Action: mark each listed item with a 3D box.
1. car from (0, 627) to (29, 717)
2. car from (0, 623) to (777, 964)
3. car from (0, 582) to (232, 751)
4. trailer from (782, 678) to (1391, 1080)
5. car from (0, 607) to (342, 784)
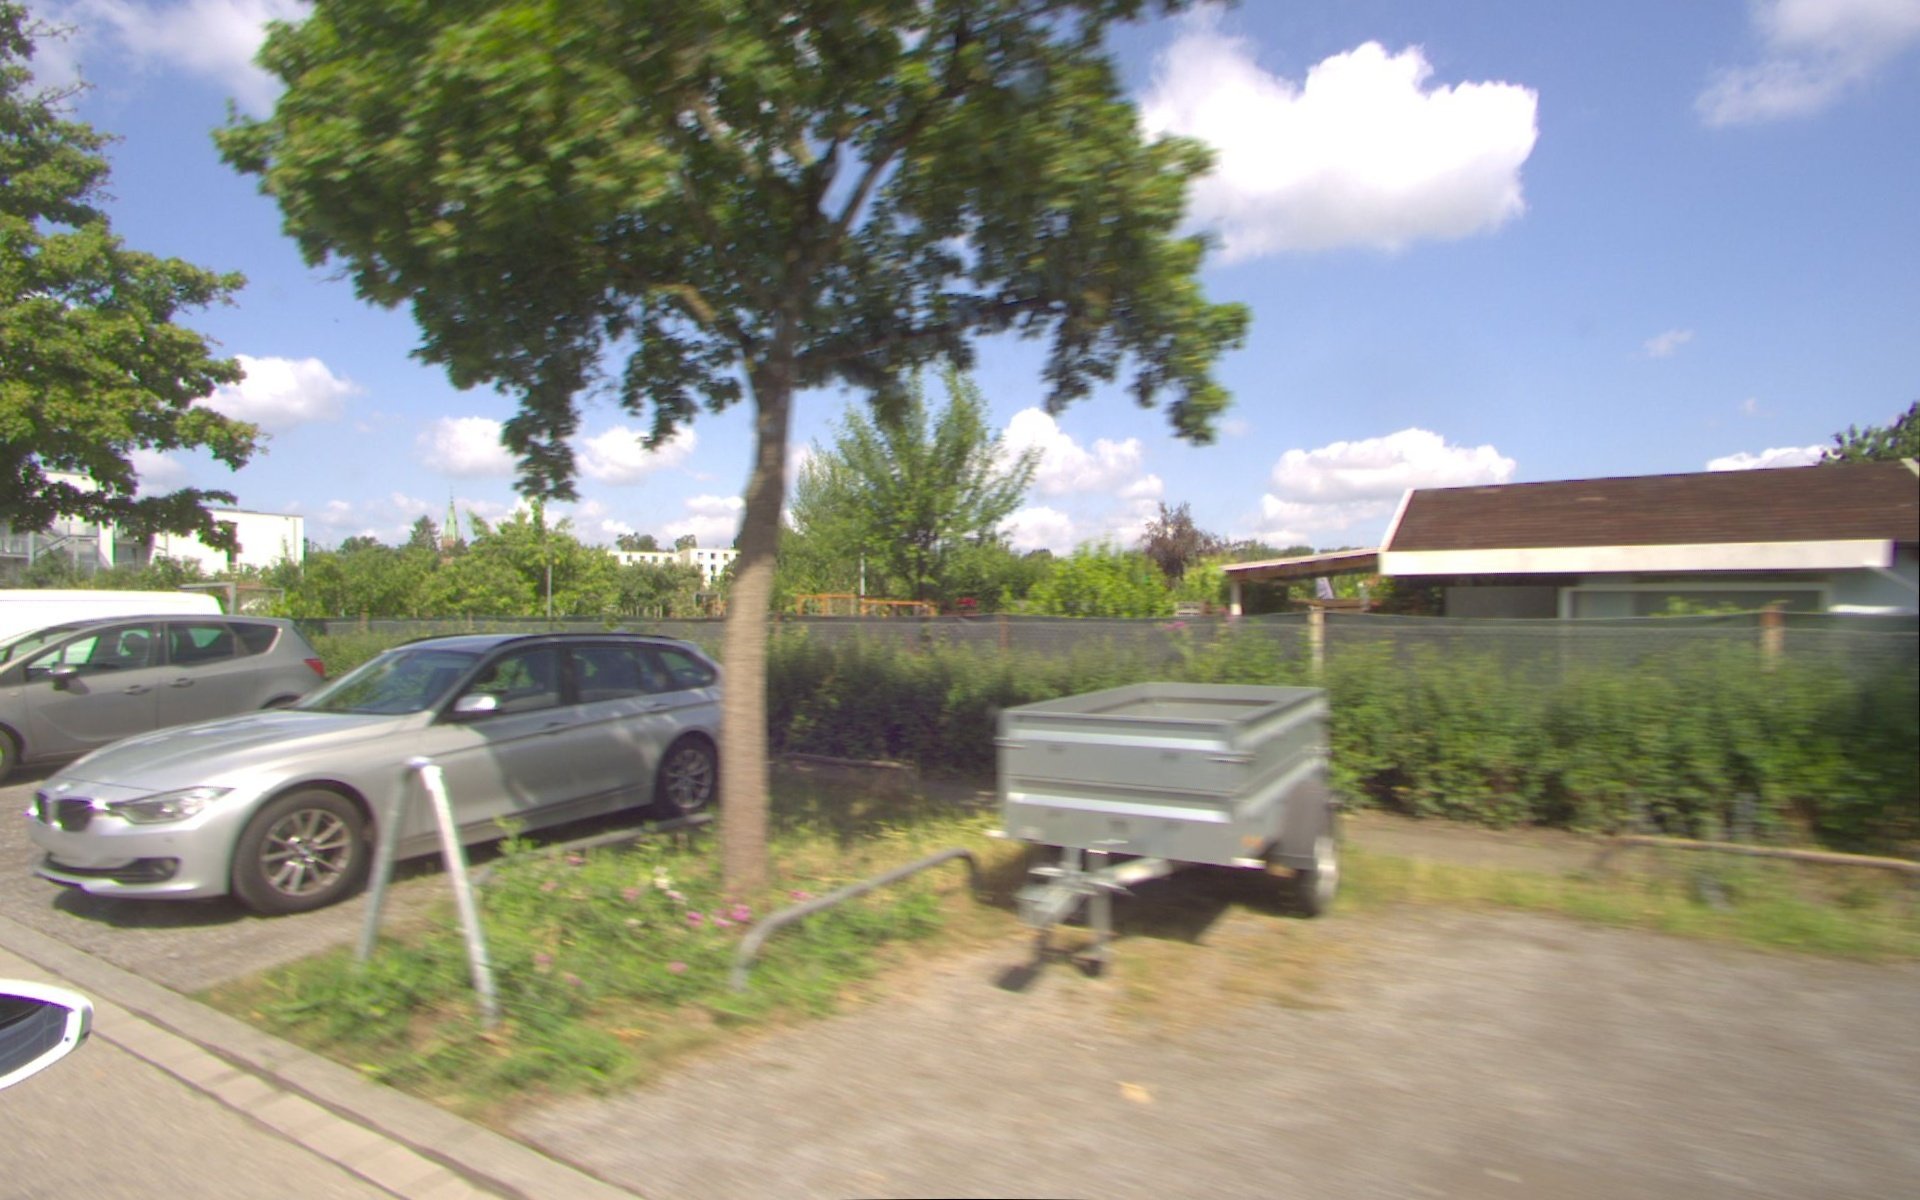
[{"bbox_3d":[-17.955,1.174,16.014,1.852,1.523,4.176,-1,-2,33],"label":"car"},{"bbox_3d":[-3.488,0.909,6.895,1.969,1.485,4.574,0,-1,29],"label":"car"},{"bbox_3d":[-11.707,0.756,11.782,2.080,1.911,4.627,0,0,30],"label":"car"},{"bbox_3d":[0.883,1.047,5.096,1.971,1.157,3.095,-1,-3,32],"label":"trailer"},{"bbox_3d":[-9.268,0.902,10.584,1.971,1.613,4.234,0,0,32],"label":"car"}]
